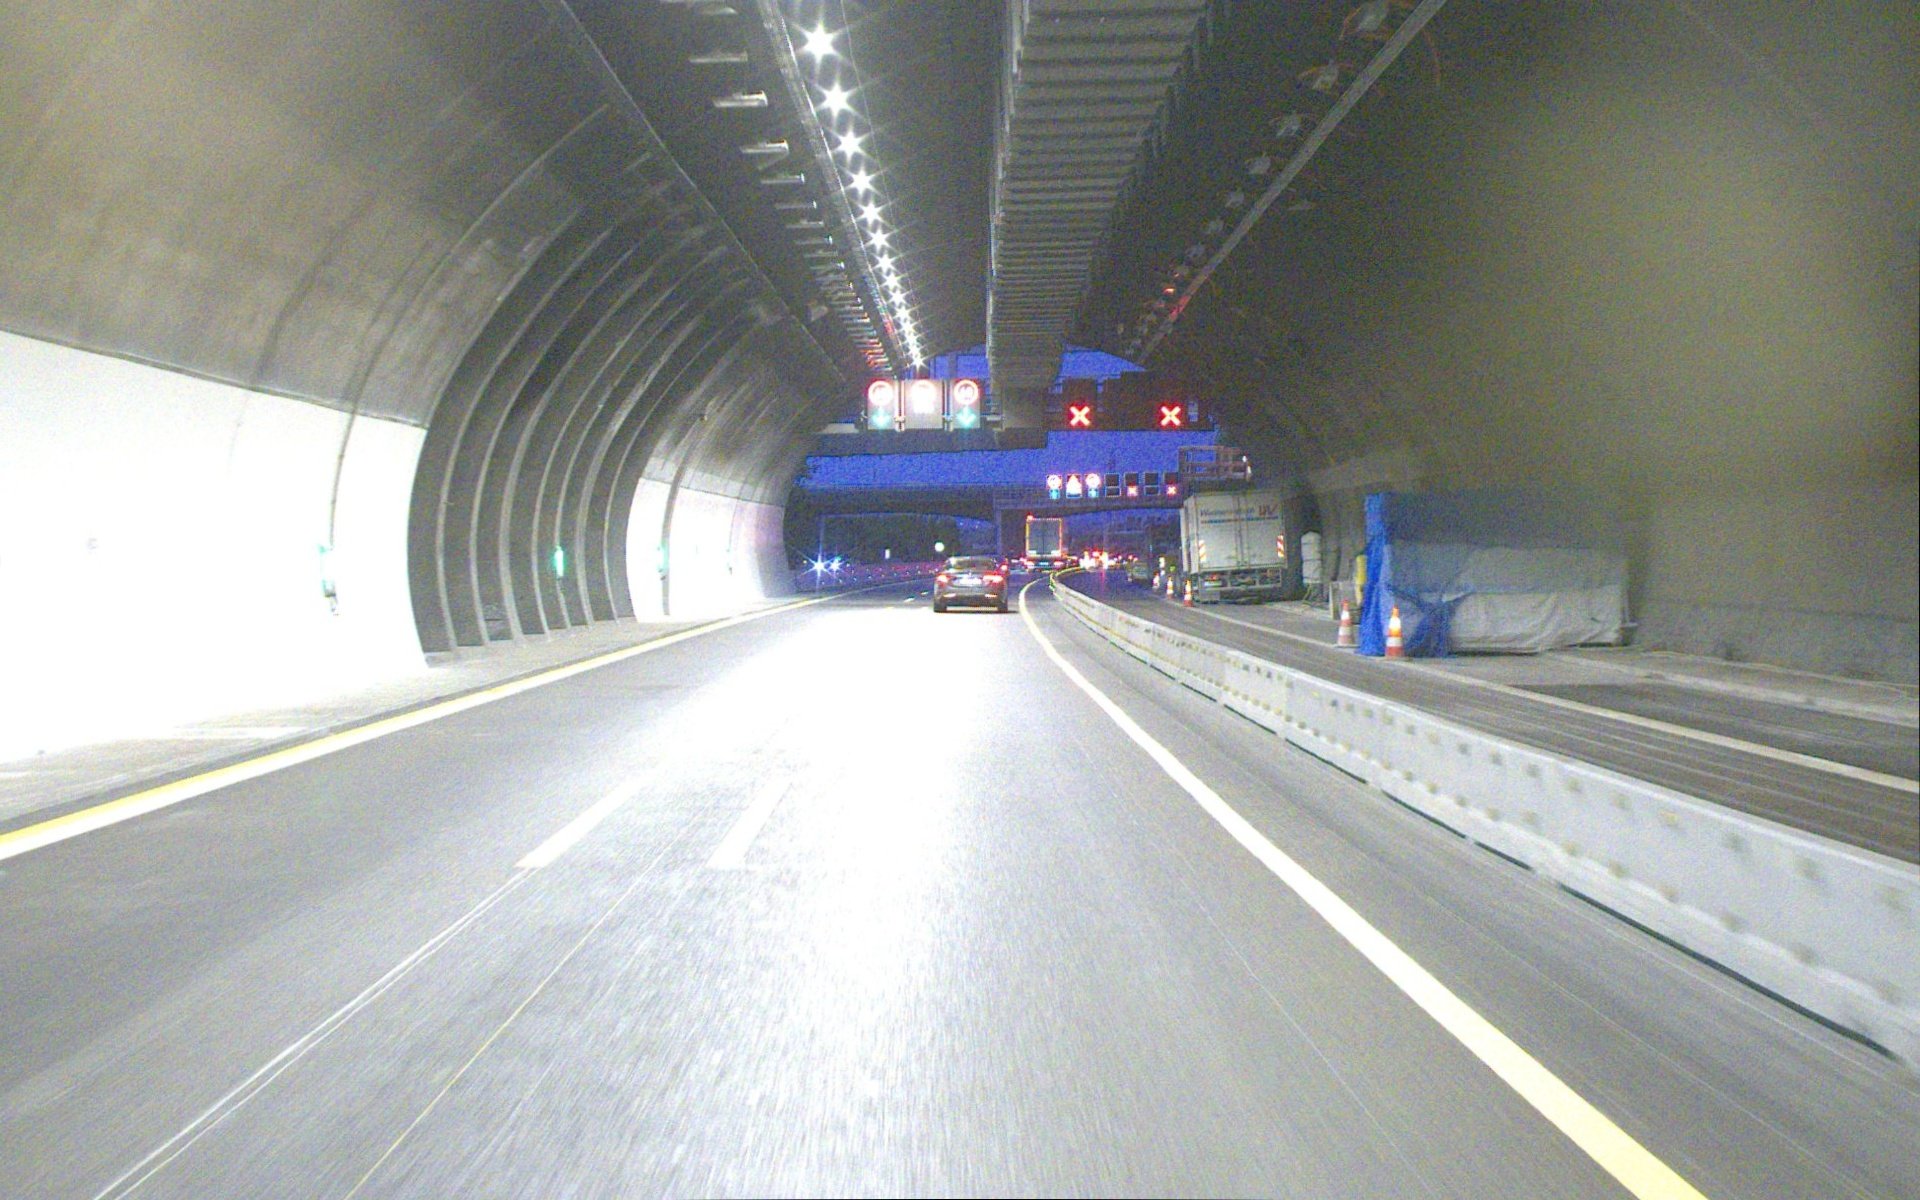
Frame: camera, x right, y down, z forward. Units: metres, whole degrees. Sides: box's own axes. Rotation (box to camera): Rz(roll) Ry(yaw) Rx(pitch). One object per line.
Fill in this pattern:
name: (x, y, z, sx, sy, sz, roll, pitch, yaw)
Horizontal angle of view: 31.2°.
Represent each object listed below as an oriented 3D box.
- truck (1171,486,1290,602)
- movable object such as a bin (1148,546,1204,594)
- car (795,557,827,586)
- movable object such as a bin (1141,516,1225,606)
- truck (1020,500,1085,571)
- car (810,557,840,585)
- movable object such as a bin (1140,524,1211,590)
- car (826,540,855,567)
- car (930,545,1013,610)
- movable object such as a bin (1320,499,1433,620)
truck: (7.898, -1.612, 101.393, 2.892, 3.261, 8.401, 1, 0, 1)
movable object such as a bin: (8.442, -1.176, 134.598, 1.978, 1.809, 3.836, 1, 0, 1)
car: (-10.498, -2.032, 242.333, 1.993, 2.007, 4.000, 1, 0, 1)
movable object such as a bin: (7.131, -1.238, 110.597, 2.238, 2.784, 7.233, 1, 0, 1)
truck: (6.660, -4.573, 247.645, 4.546, 4.970, 9.598, 1, 0, 2)
car: (-9.933, -2.111, 252.420, 1.993, 2.007, 4.000, 1, 0, 1)
movable object such as a bin: (9.198, -1.834, 147.282, 2.737, 2.744, 7.049, 1, 0, 2)
car: (-8.992, -3.474, 259.327, 1.993, 2.007, 4.000, 1, 0, 1)
car: (0.268, -0.579, 87.268, 1.887, 1.601, 4.000, 1, 0, -2)
movable object such as a bin: (8.719, -0.842, 72.278, 1.756, 2.372, 4.000, -3, 0, 0)
